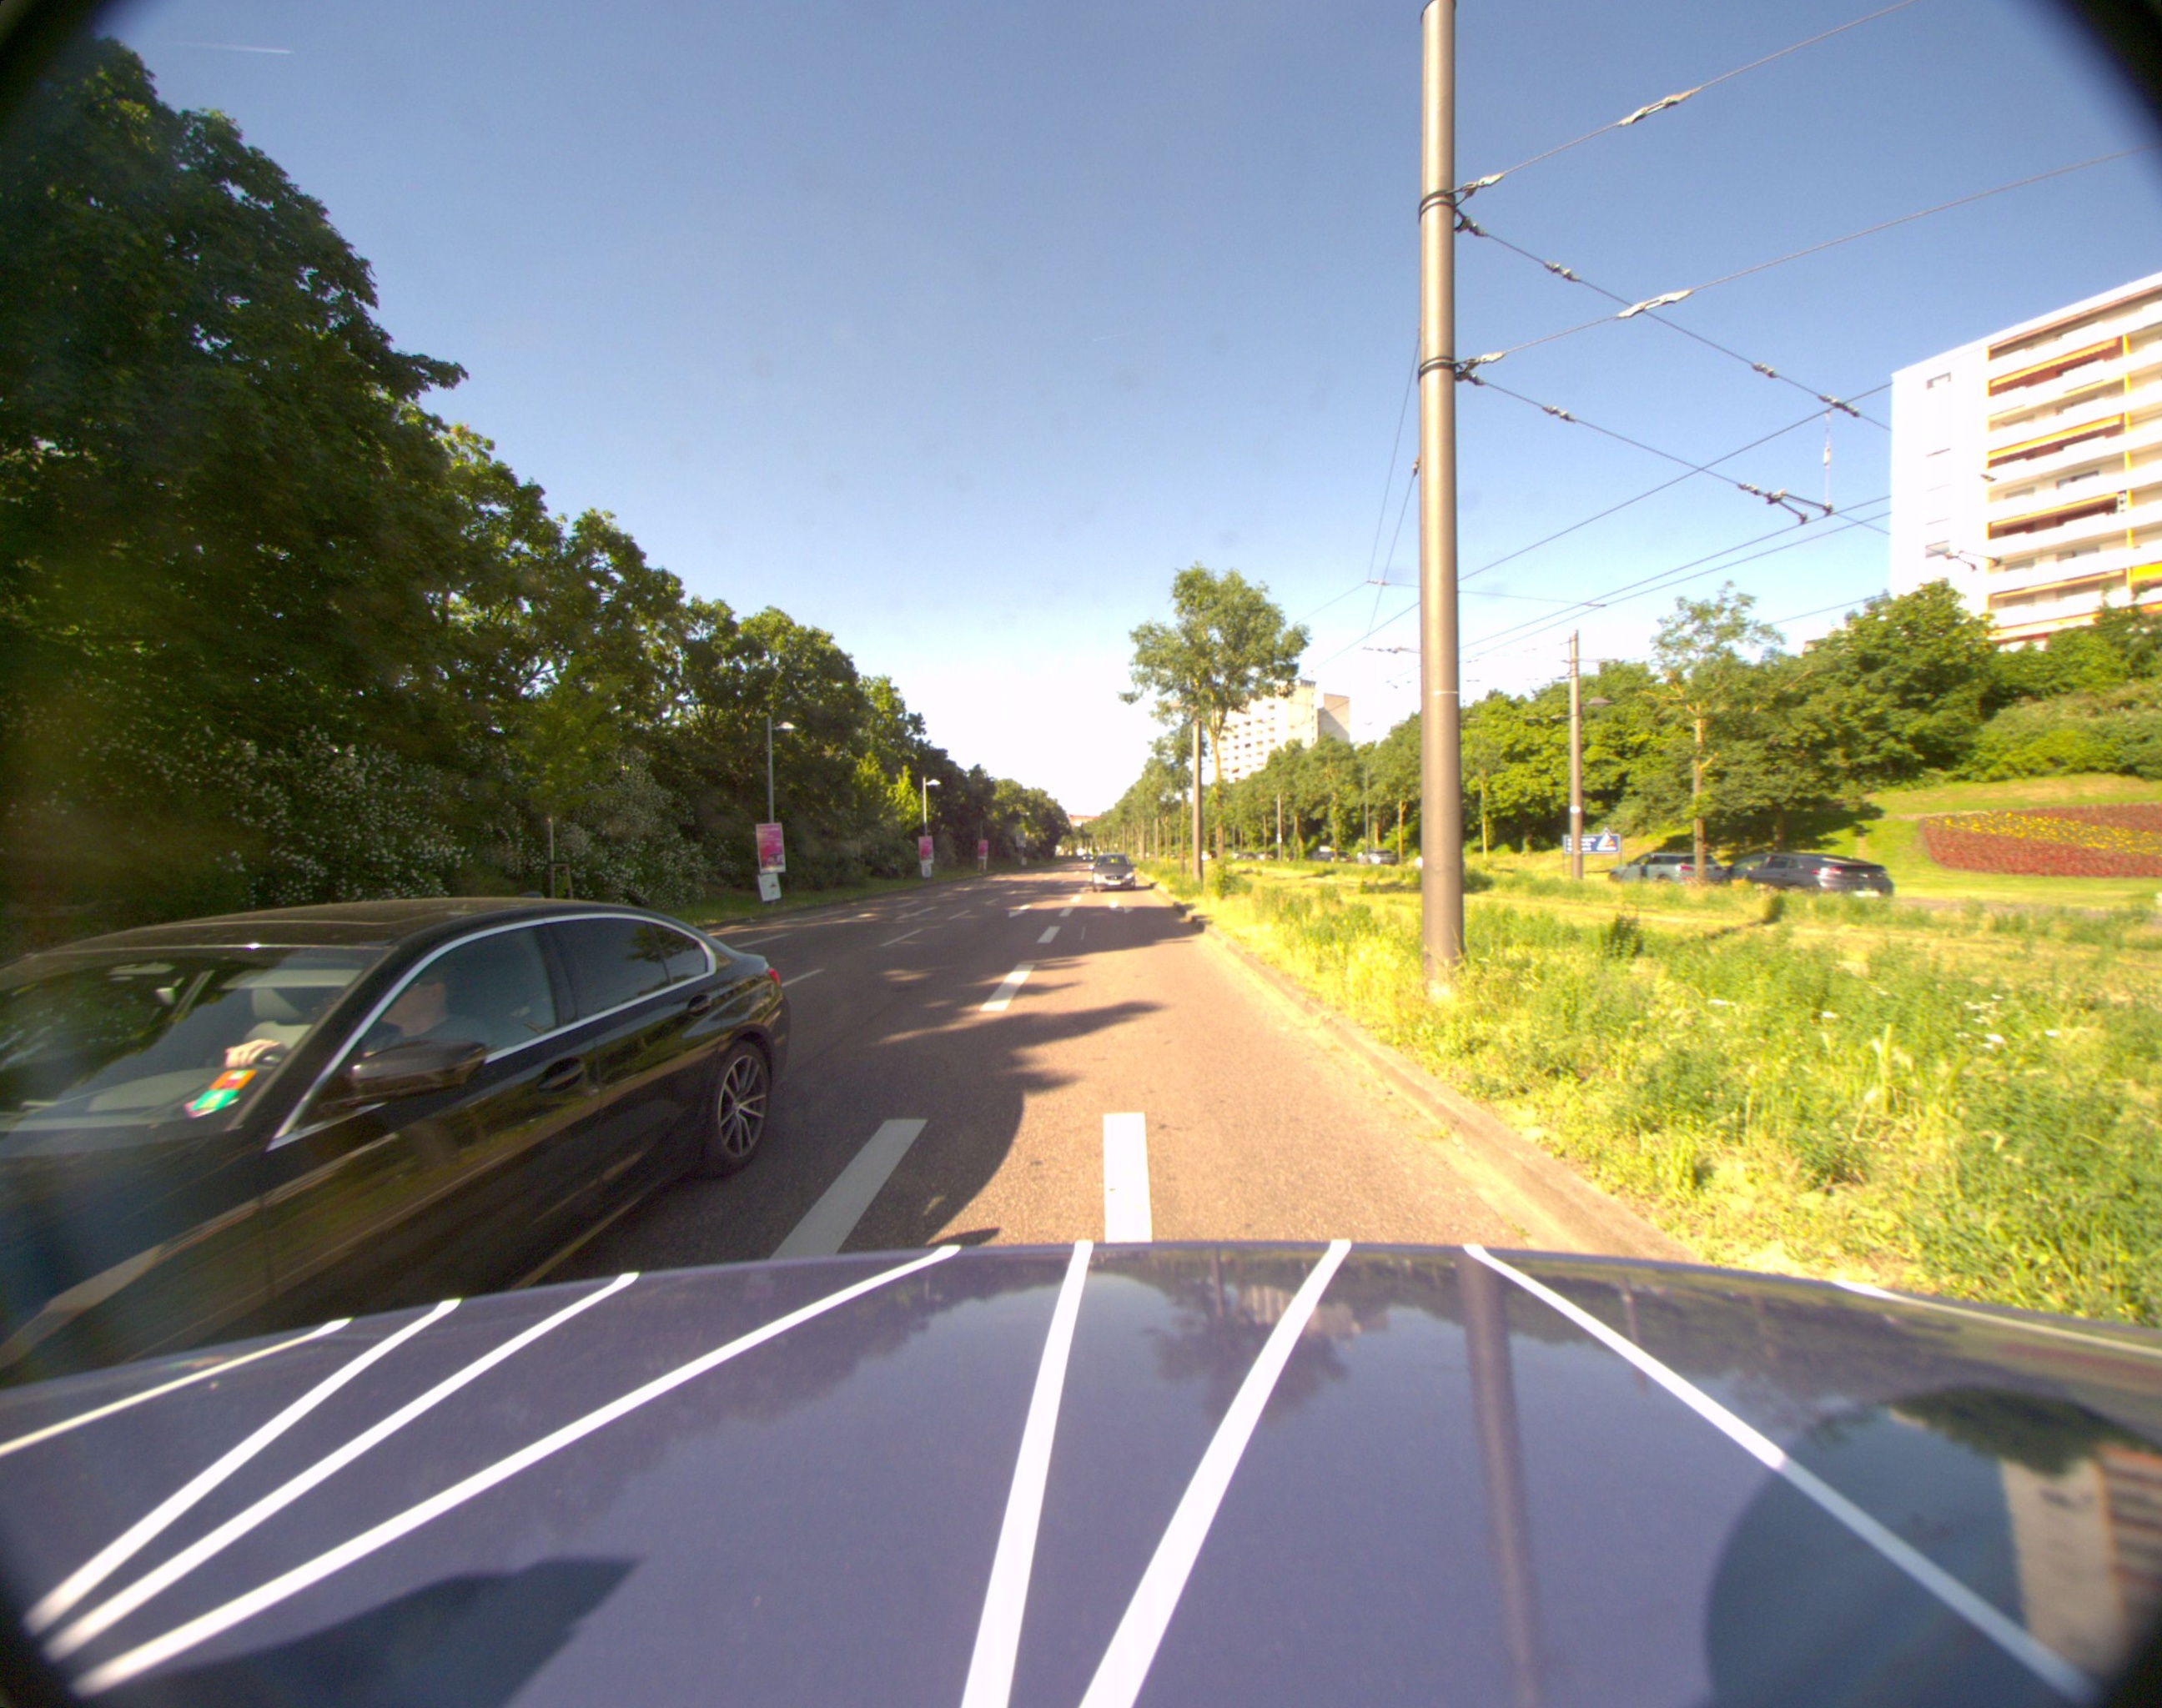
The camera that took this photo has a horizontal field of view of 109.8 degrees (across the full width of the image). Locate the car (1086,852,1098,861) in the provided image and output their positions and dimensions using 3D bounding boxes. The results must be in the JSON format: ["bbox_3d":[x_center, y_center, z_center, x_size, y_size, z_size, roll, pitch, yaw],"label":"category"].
[{"bbox_3d":[1.782,0.328,126.769,1.875,1.428,4.594,-1,0,2],"label":"car"}]

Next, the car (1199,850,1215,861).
[{"bbox_3d":[19.333,0.238,116.522,1.909,1.652,4.000,-1,0,2],"label":"car"}]

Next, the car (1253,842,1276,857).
[{"bbox_3d":[22.917,-0.574,94.933,1.882,1.755,4.000,-1,0,1],"label":"car"}]

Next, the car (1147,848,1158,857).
[{"bbox_3d":[15.969,-0.349,169.069,1.942,2.002,3.999,-1,0,-2],"label":"car"}]

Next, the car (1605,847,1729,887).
[{"bbox_3d":[21.809,0.444,28.490,1.740,1.368,4.001,-1,0,4],"label":"car"}]

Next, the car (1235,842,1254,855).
[{"bbox_3d":[22.737,-0.702,105.677,1.882,1.755,4.000,-1,0,1],"label":"car"}]

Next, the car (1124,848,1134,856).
[{"bbox_3d":[12.511,-0.627,198.429,1.999,2.002,3.998,-1,0,-3],"label":"car"}]

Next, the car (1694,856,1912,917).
[{"bbox_3d":[18.631,0.764,19.920,1.825,1.353,4.230,-1,0,3],"label":"car"}]

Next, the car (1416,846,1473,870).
[{"bbox_3d":[22.878,0.221,47.968,1.847,1.390,4.000,-1,0,2],"label":"car"}]

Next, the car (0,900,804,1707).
[{"bbox_3d":[-2.666,0.994,2.311,1.874,1.390,4.443,-1,0,2],"label":"car"}]

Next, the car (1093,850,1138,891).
[{"bbox_3d":[1.421,0.661,32.245,1.759,1.612,3.880,-1,0,1],"label":"car"}]

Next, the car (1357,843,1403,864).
[{"bbox_3d":[23.044,-0.042,58.712,1.998,1.477,4.000,-1,0,1],"label":"car"}]

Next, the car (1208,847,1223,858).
[{"bbox_3d":[21.984,-0.222,124.178,1.882,1.755,4.000,-1,0,1],"label":"car"}]

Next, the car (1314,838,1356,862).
[{"bbox_3d":[19.296,-0.288,57.859,1.882,1.755,4.000,-1,0,1],"label":"car"}]

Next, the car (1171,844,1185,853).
[{"bbox_3d":[18.860,-1.016,147.646,1.882,1.755,3.999,-1,0,-3],"label":"car"}]

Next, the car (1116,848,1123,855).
[{"bbox_3d":[11.985,-0.791,235.244,1.998,2.002,4.000,-1,0,1],"label":"car"}]

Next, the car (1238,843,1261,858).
[{"bbox_3d":[19.795,-0.401,89.236,1.882,1.755,4.000,-1,0,1],"label":"car"}]

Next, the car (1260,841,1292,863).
[{"bbox_3d":[18.616,-0.158,72.693,1.998,2.002,4.000,-1,0,1],"label":"car"}]

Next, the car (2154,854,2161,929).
[{"bbox_3d":[21.439,0.705,12.531,1.867,1.410,4.000,-1,0,1],"label":"car"}]
